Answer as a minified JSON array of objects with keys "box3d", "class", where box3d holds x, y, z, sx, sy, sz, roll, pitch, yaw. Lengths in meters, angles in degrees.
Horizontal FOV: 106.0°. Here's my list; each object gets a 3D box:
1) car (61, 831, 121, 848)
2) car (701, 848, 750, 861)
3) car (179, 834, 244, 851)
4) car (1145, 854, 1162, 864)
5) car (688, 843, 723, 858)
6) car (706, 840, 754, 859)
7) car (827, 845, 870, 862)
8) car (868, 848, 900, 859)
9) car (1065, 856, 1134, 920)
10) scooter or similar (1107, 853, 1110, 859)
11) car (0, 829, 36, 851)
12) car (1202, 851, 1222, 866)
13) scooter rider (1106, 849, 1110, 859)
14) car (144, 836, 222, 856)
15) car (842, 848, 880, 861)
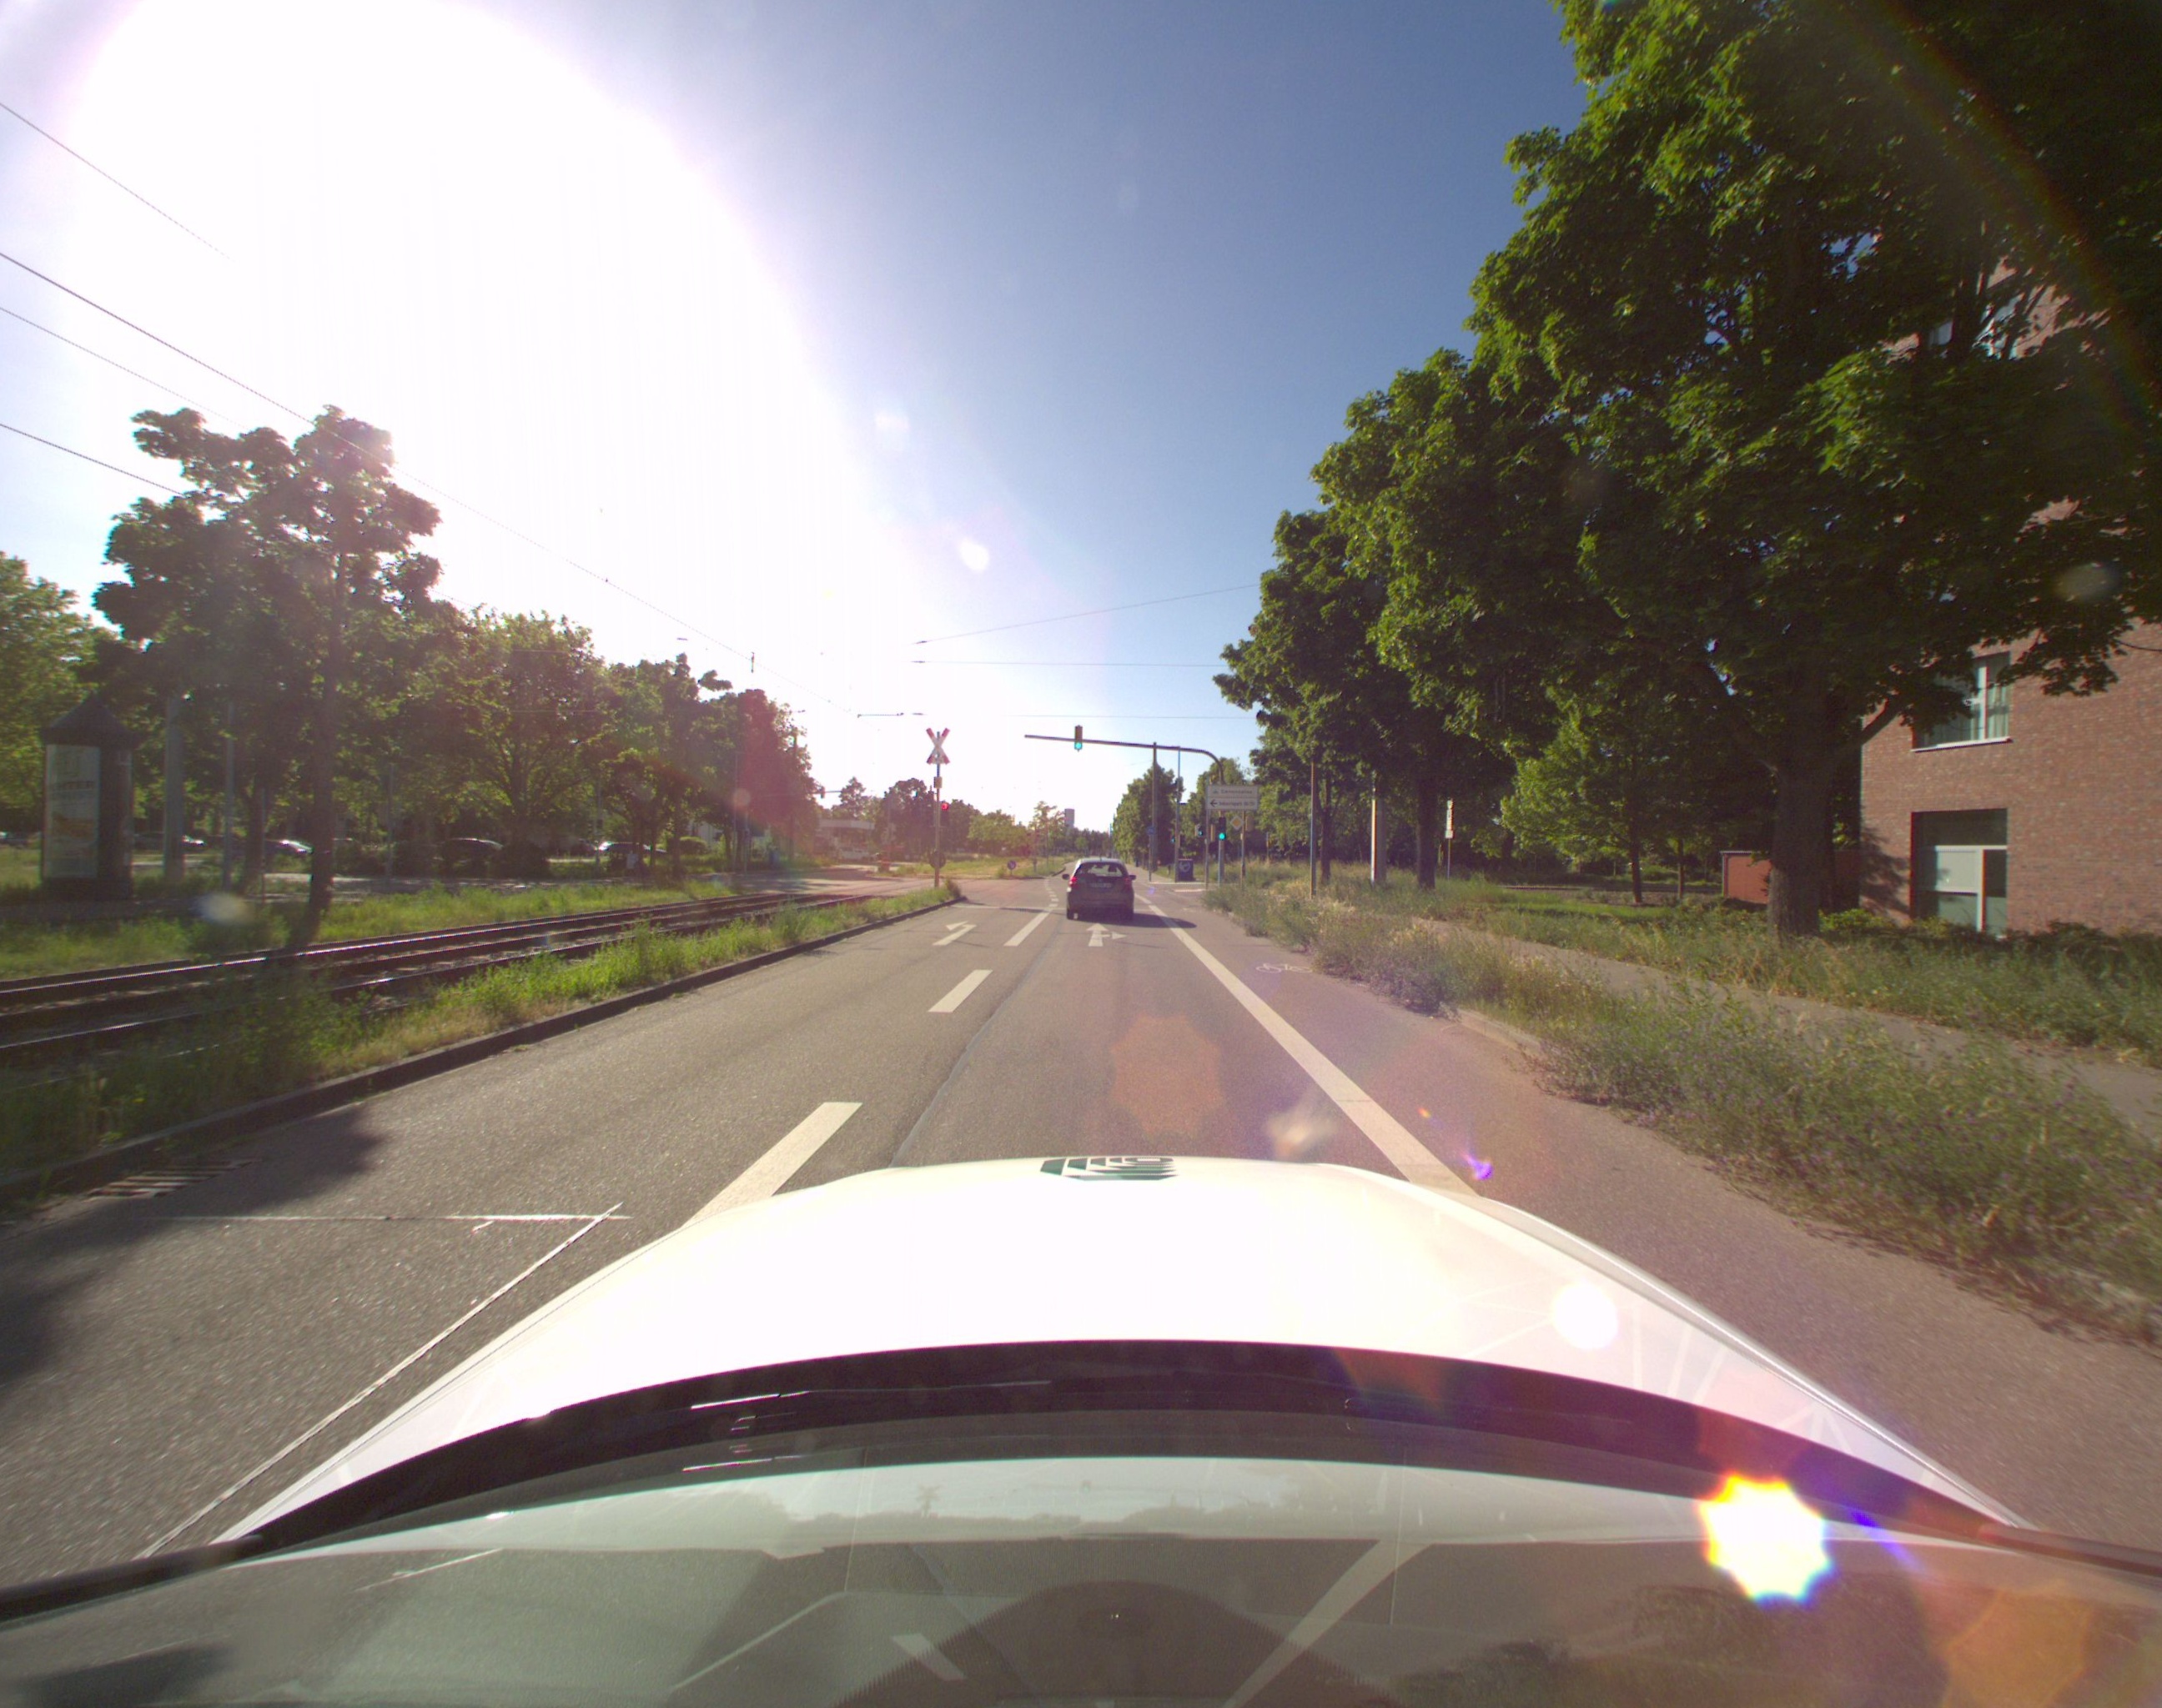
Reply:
[{"box3d":[-97.948,-1.405,80.588,3.966,1.606,1.834,1,0,6],"class":"car"},{"box3d":[-34.340,0.077,78.725,3.957,1.167,1.664,1,0,-4],"class":"car"},{"box3d":[-81.987,-1.055,76.836,3.958,1.432,1.845,1,0,-5],"class":"car"},{"box3d":[9.592,0.655,108.462,1.770,1.386,3.866,0,0,-3],"class":"car"},{"box3d":[-40.192,-0.376,87.336,1.570,1.544,4.093,1,0,4],"class":"car"},{"box3d":[-40.750,-0.550,94.562,4.707,2.091,2.020,1,0,-1],"class":"car"},{"box3d":[-28.340,-0.100,99.265,1.837,1.974,4.817,1,0,38],"class":"car"},{"box3d":[-28.023,-0.075,115.863,4.060,1.568,1.791,1,0,-2],"class":"car"},{"box3d":[0.530,0.811,21.270,1.617,1.499,3.459,1,0,3],"class":"car"},{"box3d":[5.562,0.420,165.661,0.538,1.118,1.416,1,0,-1],"class":"scooter or similar"},{"box3d":[-82.466,-1.106,61.636,3.984,1.668,1.826,1,0,-8],"class":"car"},{"box3d":[17.363,0.567,107.999,1.865,1.966,5.167,2,0,0],"class":"car"},{"box3d":[5.433,0.031,165.708,0.714,1.901,0.934,1,0,-2],"class":"scooter rider"},{"box3d":[-71.492,-0.612,64.872,3.958,1.449,1.743,1,0,-5],"class":"car"},{"box3d":[-28.130,0.063,104.018,1.769,1.528,4.499,1,0,38],"class":"car"}]
